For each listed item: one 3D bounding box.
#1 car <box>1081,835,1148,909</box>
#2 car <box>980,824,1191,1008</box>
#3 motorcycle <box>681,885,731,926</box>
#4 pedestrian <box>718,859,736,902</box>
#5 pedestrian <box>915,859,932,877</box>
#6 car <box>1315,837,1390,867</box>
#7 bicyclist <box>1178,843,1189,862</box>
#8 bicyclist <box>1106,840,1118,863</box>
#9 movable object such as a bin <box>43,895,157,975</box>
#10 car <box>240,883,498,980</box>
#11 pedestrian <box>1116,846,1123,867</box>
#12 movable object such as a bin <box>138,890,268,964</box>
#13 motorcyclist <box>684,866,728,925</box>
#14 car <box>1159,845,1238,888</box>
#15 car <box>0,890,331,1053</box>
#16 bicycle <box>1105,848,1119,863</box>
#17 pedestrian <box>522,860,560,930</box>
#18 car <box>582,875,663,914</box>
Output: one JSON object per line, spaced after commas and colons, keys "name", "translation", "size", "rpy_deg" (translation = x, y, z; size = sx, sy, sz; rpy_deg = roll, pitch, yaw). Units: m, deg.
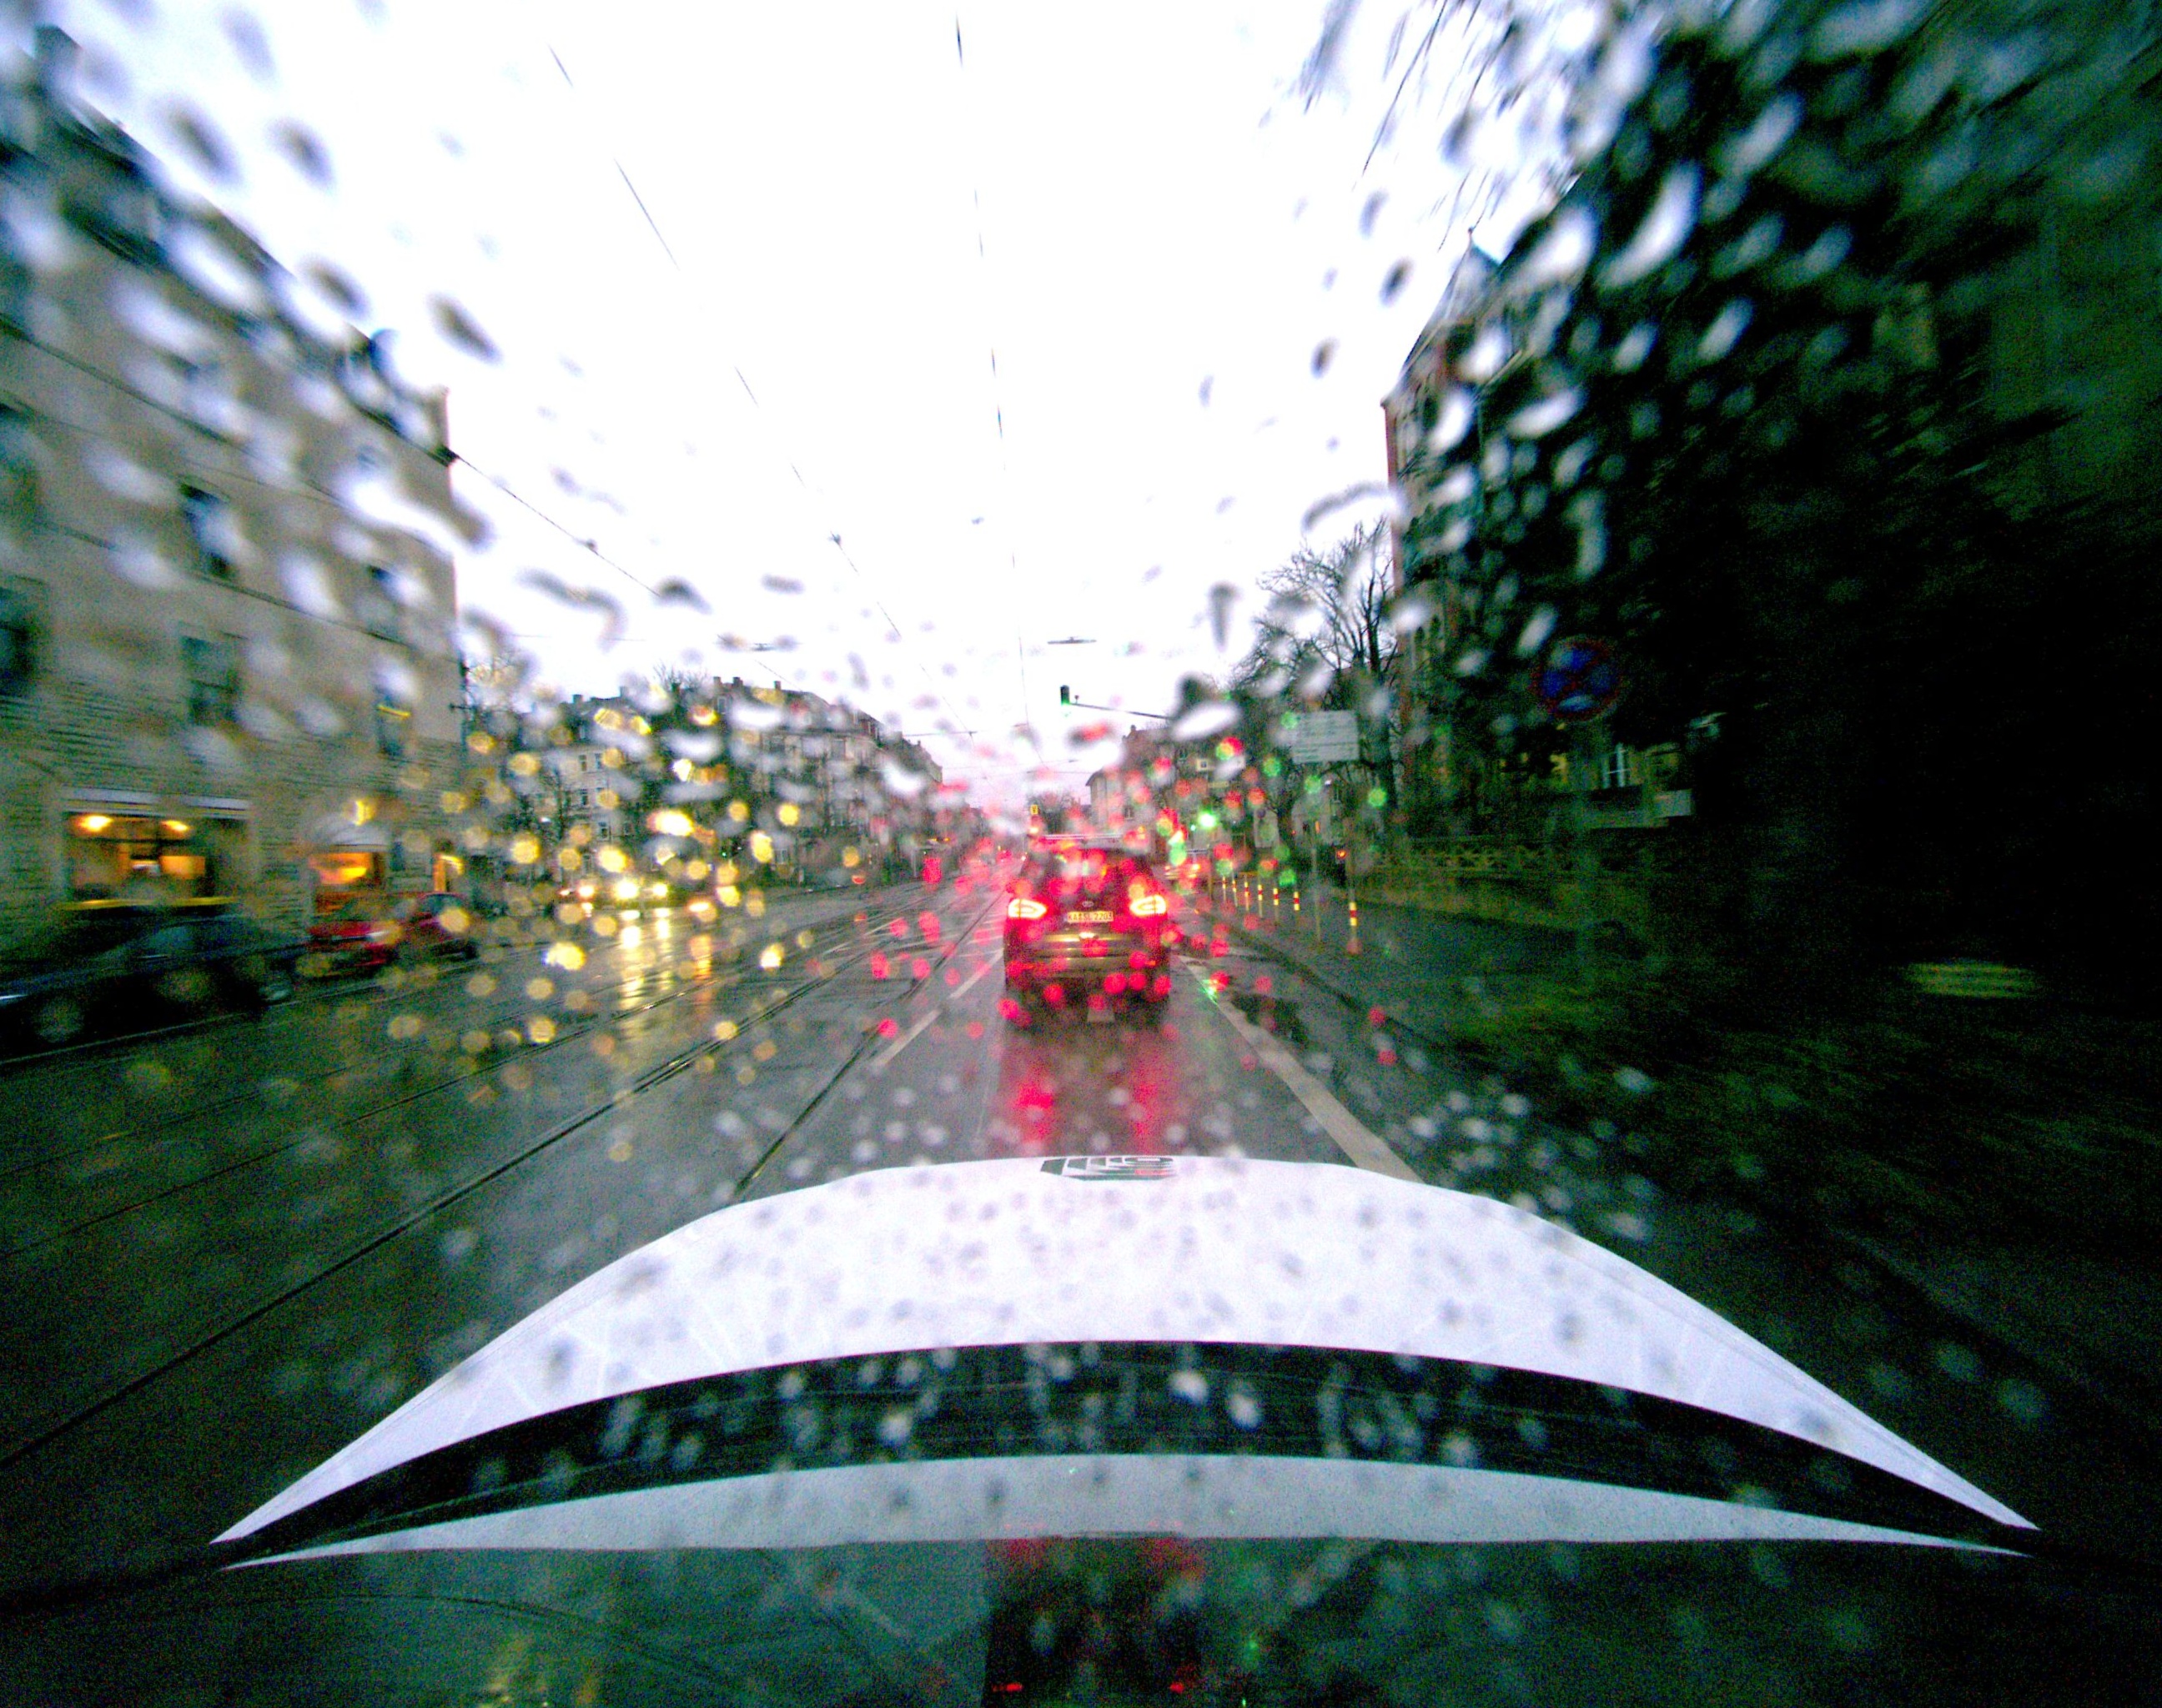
{"name": "car", "translation": [0.937, 0.516, 24.857], "size": [1.704, 2.014, 4.296], "rpy_deg": [-2, -1, -2]}
{"name": "car", "translation": [0.025, 0.618, 10.540], "size": [2.097, 1.816, 4.659], "rpy_deg": [-1, 0, -1]}
{"name": "motorcycle", "translation": [-10.330, 1.394, 22.508], "size": [0.857, 0.991, 1.910], "rpy_deg": [-3, 0, -13]}
{"name": "pedestrian", "translation": [-16.912, 1.249, 38.913], "size": [0.707, 2.013, 0.655], "rpy_deg": [-3, 0, -22]}
{"name": "pedestrian", "translation": [-11.042, 0.988, 57.170], "size": [1.045, 1.200, 0.884], "rpy_deg": [-2, -1, -2]}
{"name": "car", "translation": [13.939, -0.121, 41.759], "size": [4.019, 1.376, 1.651], "rpy_deg": [-3, 0, -38]}
{"name": "bicyclist", "translation": [10.954, -0.180, 86.917], "size": [0.799, 1.919, 0.712], "rpy_deg": [-3, 0, 29]}
{"name": "bicyclist", "translation": [2.312, -0.181, 60.376], "size": [0.716, 1.662, 1.054], "rpy_deg": [1, 0, -7]}
{"name": "movable object such as a bin", "translation": [-18.660, 1.512, 15.516], "size": [0.897, 1.377, 1.005], "rpy_deg": [-2, 0, -3]}
{"name": "car", "translation": [-14.188, 1.465, 16.620], "size": [2.036, 1.552, 4.021], "rpy_deg": [1, 0, -8]}
{"name": "pedestrian", "translation": [3.649, 0.235, 76.779], "size": [0.594, 2.014, 0.631], "rpy_deg": [-2, -1, 1]}
{"name": "movable object such as a bin", "translation": [-18.237, 1.482, 16.968], "size": [1.291, 1.367, 1.251], "rpy_deg": [-2, 0, -3]}
{"name": "motorcyclist", "translation": [-10.338, 1.133, 22.504], "size": [0.845, 1.548, 1.010], "rpy_deg": [-3, 0, -13]}
{"name": "car", "translation": [5.037, 0.496, 34.559], "size": [1.692, 1.662, 4.026], "rpy_deg": [-3, -1, 34]}
{"name": "car", "translation": [-13.239, 1.404, 11.066], "size": [1.983, 1.645, 4.622], "rpy_deg": [2, -1, -5]}
{"name": "bicycle", "translation": [2.305, 0.104, 60.397], "size": [0.716, 1.112, 1.937], "rpy_deg": [1, 0, -7]}
{"name": "pedestrian", "translation": [-15.992, 1.202, 24.125], "size": [0.748, 2.014, 0.652], "rpy_deg": [-3, -1, 33]}
{"name": "car", "translation": [-22.108, 1.940, 39.222], "size": [3.948, 1.673, 2.035], "rpy_deg": [-3, 0, 39]}
